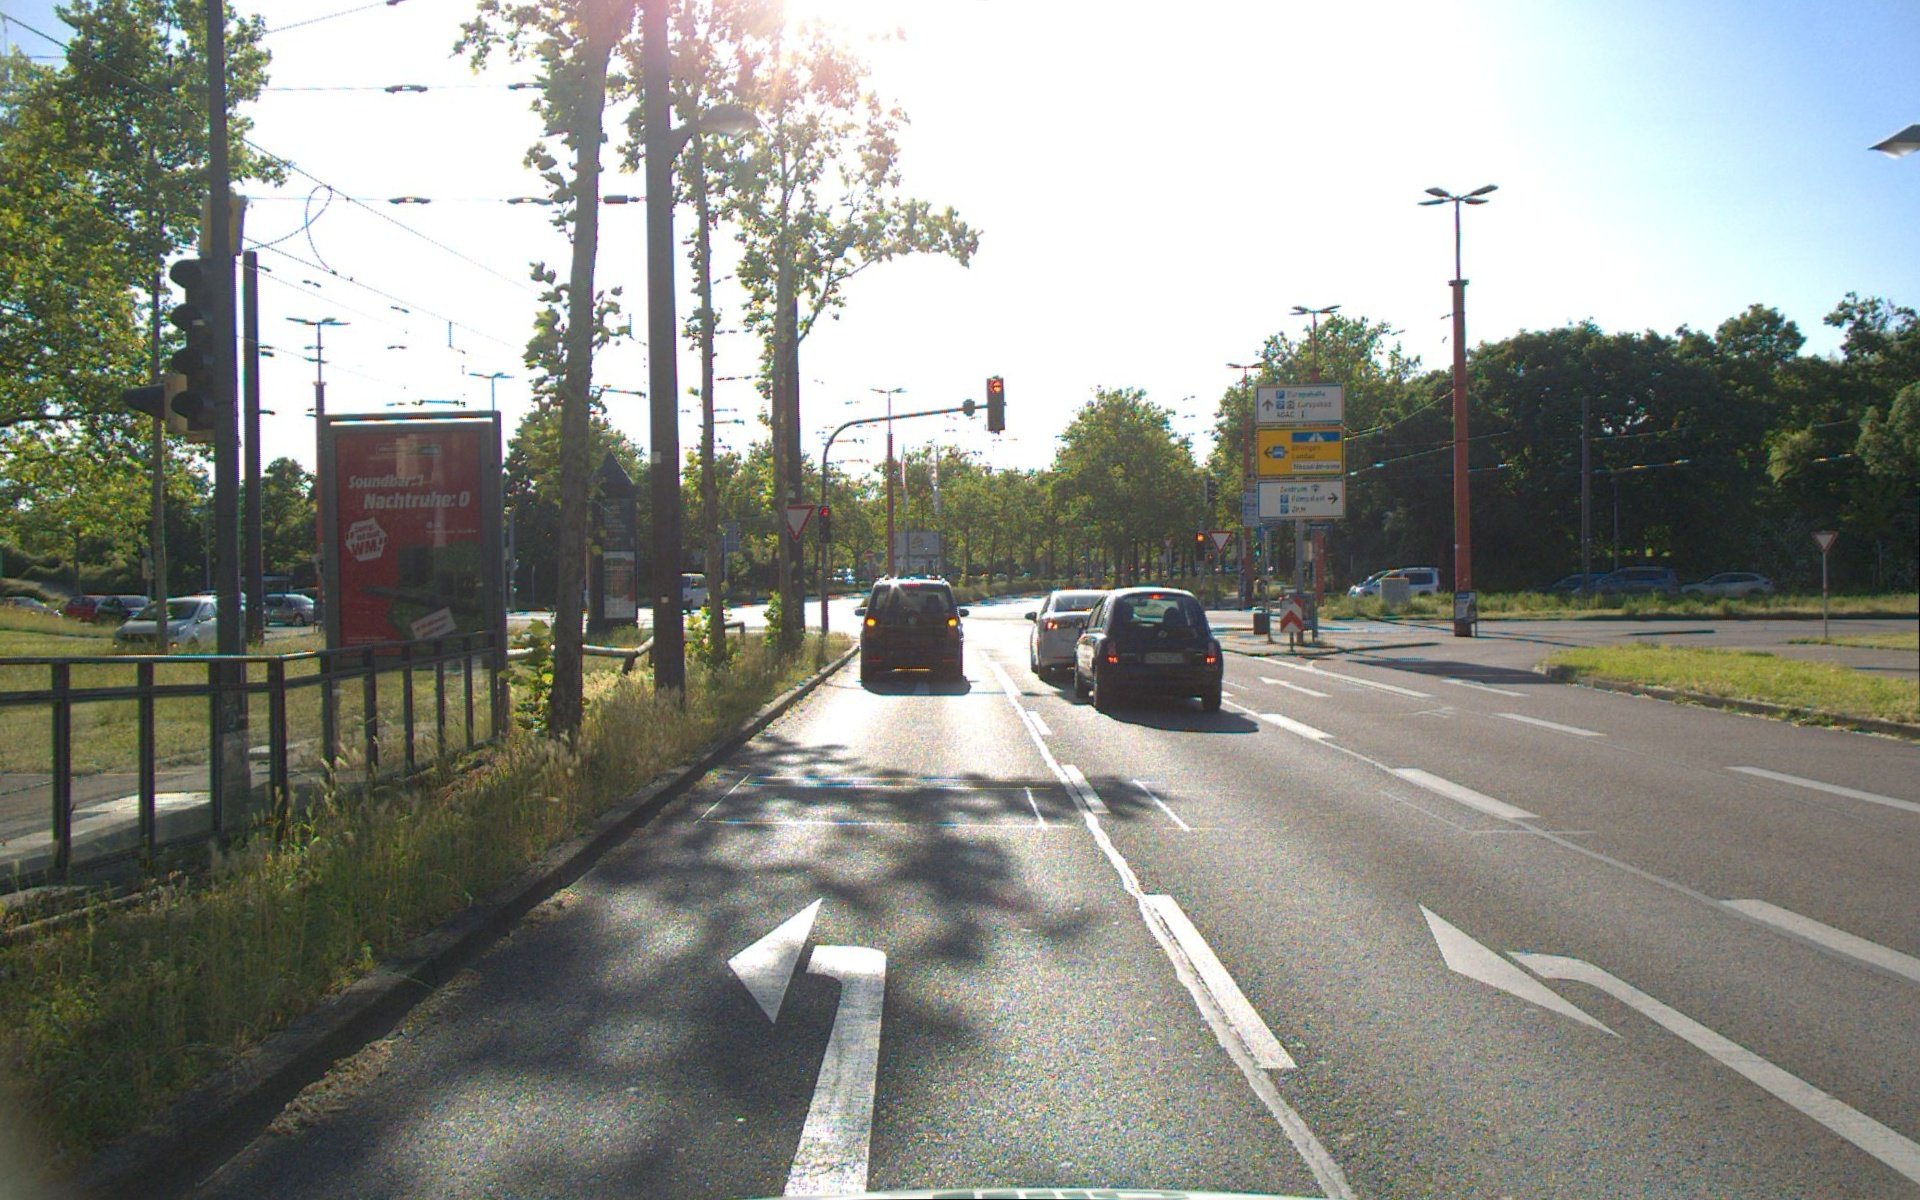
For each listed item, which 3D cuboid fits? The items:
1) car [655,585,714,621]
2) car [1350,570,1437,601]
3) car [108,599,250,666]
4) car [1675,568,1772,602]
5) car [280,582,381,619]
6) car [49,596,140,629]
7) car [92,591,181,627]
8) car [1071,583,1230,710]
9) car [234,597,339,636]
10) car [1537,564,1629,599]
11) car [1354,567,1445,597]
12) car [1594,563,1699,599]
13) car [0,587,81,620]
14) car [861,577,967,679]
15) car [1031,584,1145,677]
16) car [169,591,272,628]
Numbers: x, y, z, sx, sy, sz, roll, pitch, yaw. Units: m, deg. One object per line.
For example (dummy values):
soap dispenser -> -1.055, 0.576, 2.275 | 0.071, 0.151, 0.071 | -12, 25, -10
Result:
car -> -14.331, 0.132, 86.340 | 1.784, 1.811, 4.571 | 0, 0, 7
car -> 21.300, -0.711, 81.268 | 3.907, 1.502, 1.788 | 0, 0, 24
car -> -18.143, 0.720, 38.597 | 1.598, 1.475, 3.717 | 0, 0, -1
car -> 34.444, -0.662, 74.664 | 3.908, 1.521, 1.860 | 0, 0, 26
car -> -31.187, 0.033, 81.942 | 4.391, 1.638, 1.902 | -1, 3, 18
car -> -44.102, 0.627, 84.281 | 3.950, 1.461, 1.817 | -1, 3, 18
car -> -37.614, 0.379, 75.528 | 4.411, 1.570, 1.892 | 0, 0, 37
car -> 2.464, 0.555, 22.135 | 1.606, 1.520, 3.502 | 0, 1, -2
car -> -31.992, 0.799, 78.583 | 4.391, 1.638, 1.902 | -1, 3, 18
car -> 29.140, -0.846, 77.376 | 3.908, 1.588, 1.898 | 0, 0, 25
car -> 20.727, -0.854, 78.037 | 3.908, 1.361, 1.728 | 0, 0, 25
car -> 30.394, -0.833, 73.242 | 4.264, 1.586, 1.871 | 0, 0, 24
car -> -49.483, 0.166, 88.305 | 4.391, 1.638, 1.902 | 0, 3, 18
car -> -0.790, 0.448, 28.086 | 1.676, 1.631, 3.348 | 0, 0, -2
car -> 2.152, 0.492, 28.717 | 1.644, 1.500, 4.130 | 0, 0, 0
car -> -36.360, 0.482, 81.361 | 4.391, 1.639, 1.902 | -1, 2, 18
